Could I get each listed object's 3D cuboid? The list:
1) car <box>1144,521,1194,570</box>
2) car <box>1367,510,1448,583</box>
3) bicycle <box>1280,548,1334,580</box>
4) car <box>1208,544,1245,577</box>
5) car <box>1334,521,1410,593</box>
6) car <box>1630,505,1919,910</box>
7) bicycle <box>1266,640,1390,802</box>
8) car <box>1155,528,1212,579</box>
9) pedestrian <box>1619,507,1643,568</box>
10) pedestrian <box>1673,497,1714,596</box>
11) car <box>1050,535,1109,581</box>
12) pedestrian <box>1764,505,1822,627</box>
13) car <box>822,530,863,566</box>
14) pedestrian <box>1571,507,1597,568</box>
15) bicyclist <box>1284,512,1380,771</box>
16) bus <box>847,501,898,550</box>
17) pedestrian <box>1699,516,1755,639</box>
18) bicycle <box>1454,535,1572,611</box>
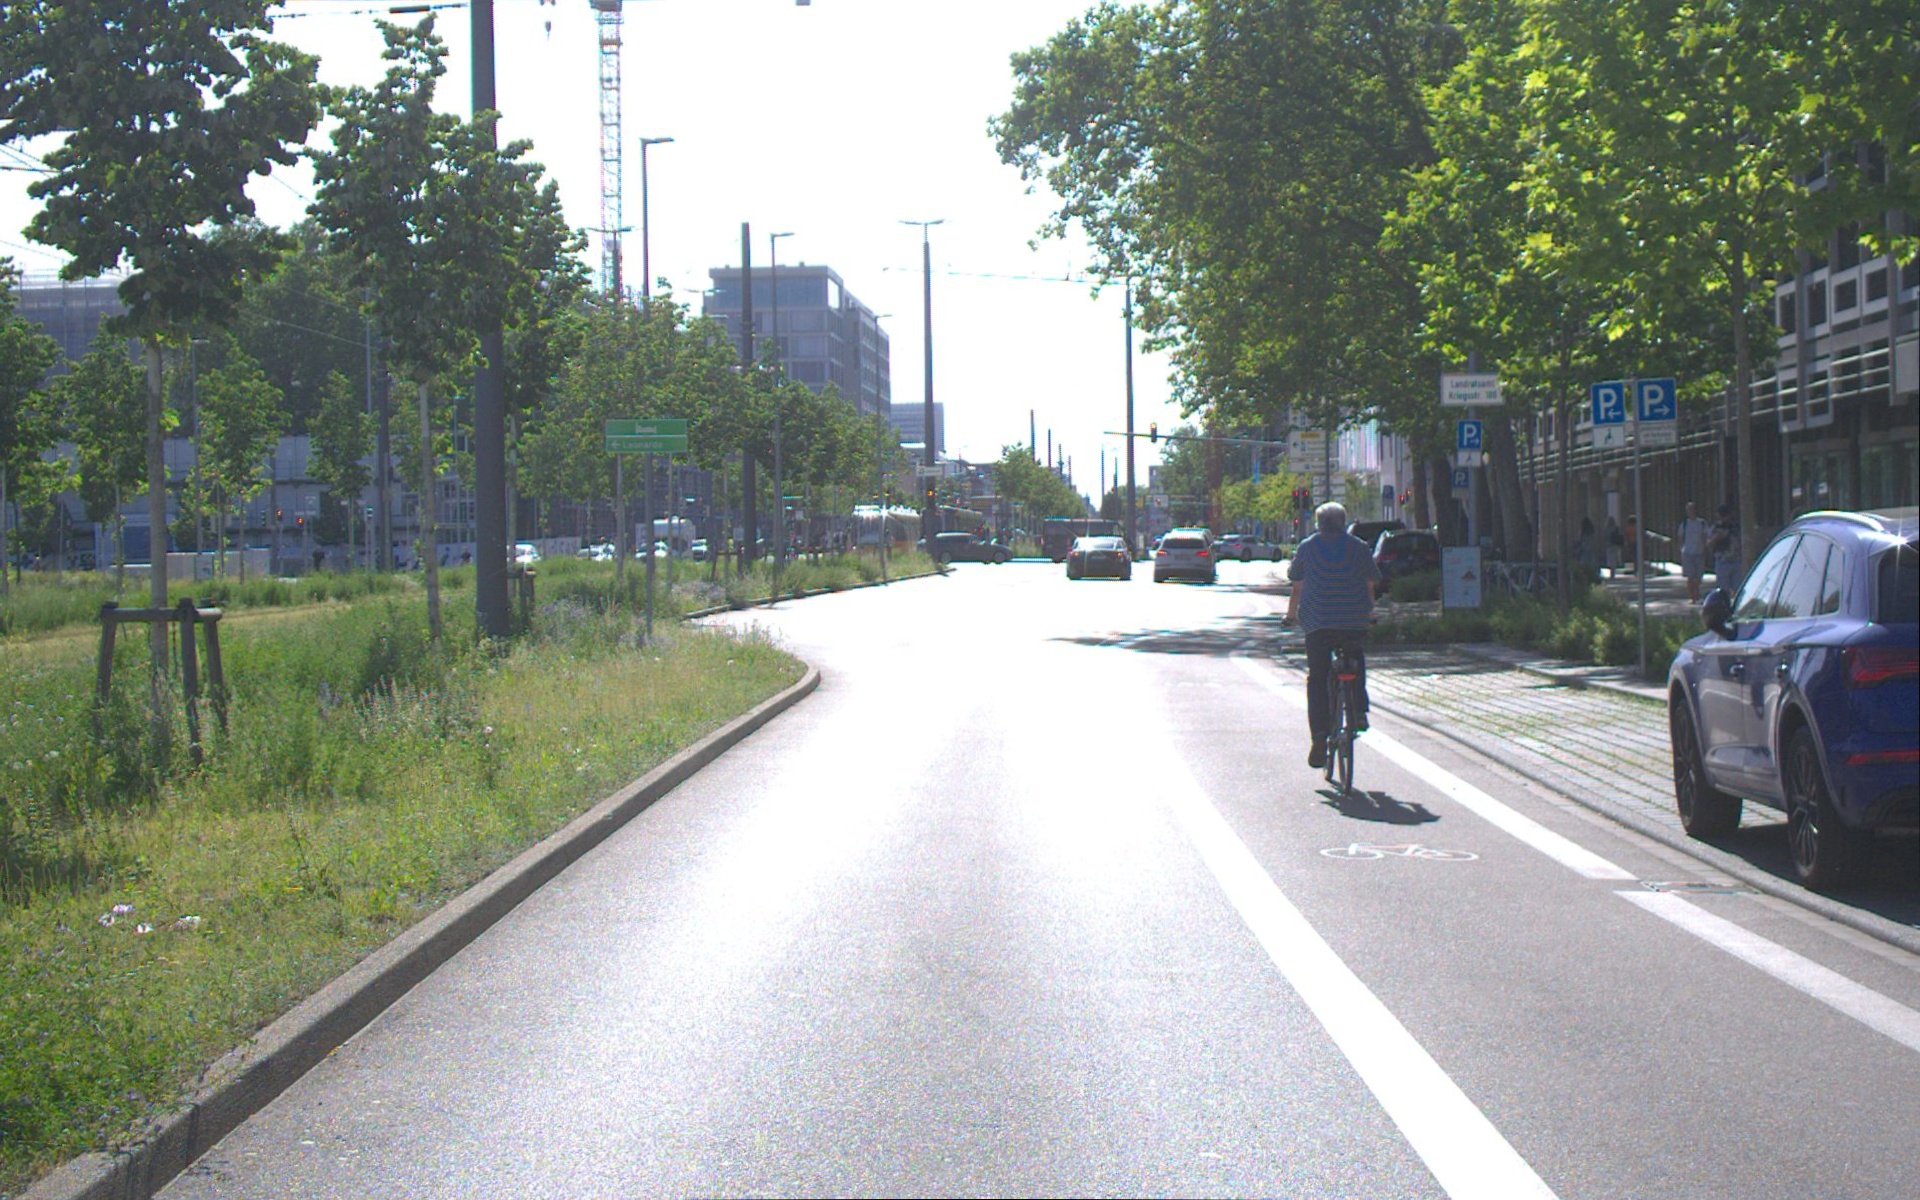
[{"bbox_3d":[7.669,-2.016,126.255,1.721,1.776,4.186,0,1,2],"label":"car"},{"bbox_3d":[10.347,-1.255,79.675,1.704,1.637,4.635,0,1,6],"label":"car"},{"bbox_3d":[11.329,-1.178,112.260,1.693,0.954,0.478,-2,1,0],"label":"bicycle"},{"bbox_3d":[13.480,-1.988,173.994,1.662,1.643,3.701,1,0,2],"label":"car"},{"bbox_3d":[10.895,-1.154,91.069,1.704,1.784,4.192,-3,1,4],"label":"car"},{"bbox_3d":[4.638,0.374,16.643,1.849,1.651,4.848,-2,1,1],"label":"car"},{"bbox_3d":[2.308,0.741,21.744,0.497,0.903,2.197,1,1,-1],"label":"bicycle"},{"bbox_3d":[7.352,-1.533,112.731,1.722,1.612,4.186,0,1,5],"label":"car"},{"bbox_3d":[17.517,-1.634,89.727,0.553,1.597,0.573,0,1,4],"label":"pedestrian"},{"bbox_3d":[12.811,-0.945,60.034,0.511,1.695,0.774,-3,1,3],"label":"pedestrian"},{"bbox_3d":[4.074,-1.441,116.519,1.912,1.481,4.009,0,1,3],"label":"car"},{"bbox_3d":[10.276,-0.427,42.422,0.511,1.469,0.736,-2,1,3],"label":"pedestrian"},{"bbox_3d":[-6.020,-2.663,177.067,1.897,1.809,4.000,1,0,1],"label":"car"},{"bbox_3d":[16.259,-1.637,89.577,0.505,1.579,0.635,-1,1,-5],"label":"pedestrian"},{"bbox_3d":[2.323,0.252,21.496,0.512,1.595,0.536,-1,1,-1],"label":"bicyclist"},{"bbox_3d":[-5.298,-4.508,208.678,2.627,2.773,8.844,1,0,1],"label":"bus"},{"bbox_3d":[10.883,-0.329,48.796,0.647,1.722,0.803,0,1,3],"label":"pedestrian"},{"bbox_3d":[9.833,-0.480,61.201,1.937,1.232,0.579,-4,1,1],"label":"bicycle"}]
